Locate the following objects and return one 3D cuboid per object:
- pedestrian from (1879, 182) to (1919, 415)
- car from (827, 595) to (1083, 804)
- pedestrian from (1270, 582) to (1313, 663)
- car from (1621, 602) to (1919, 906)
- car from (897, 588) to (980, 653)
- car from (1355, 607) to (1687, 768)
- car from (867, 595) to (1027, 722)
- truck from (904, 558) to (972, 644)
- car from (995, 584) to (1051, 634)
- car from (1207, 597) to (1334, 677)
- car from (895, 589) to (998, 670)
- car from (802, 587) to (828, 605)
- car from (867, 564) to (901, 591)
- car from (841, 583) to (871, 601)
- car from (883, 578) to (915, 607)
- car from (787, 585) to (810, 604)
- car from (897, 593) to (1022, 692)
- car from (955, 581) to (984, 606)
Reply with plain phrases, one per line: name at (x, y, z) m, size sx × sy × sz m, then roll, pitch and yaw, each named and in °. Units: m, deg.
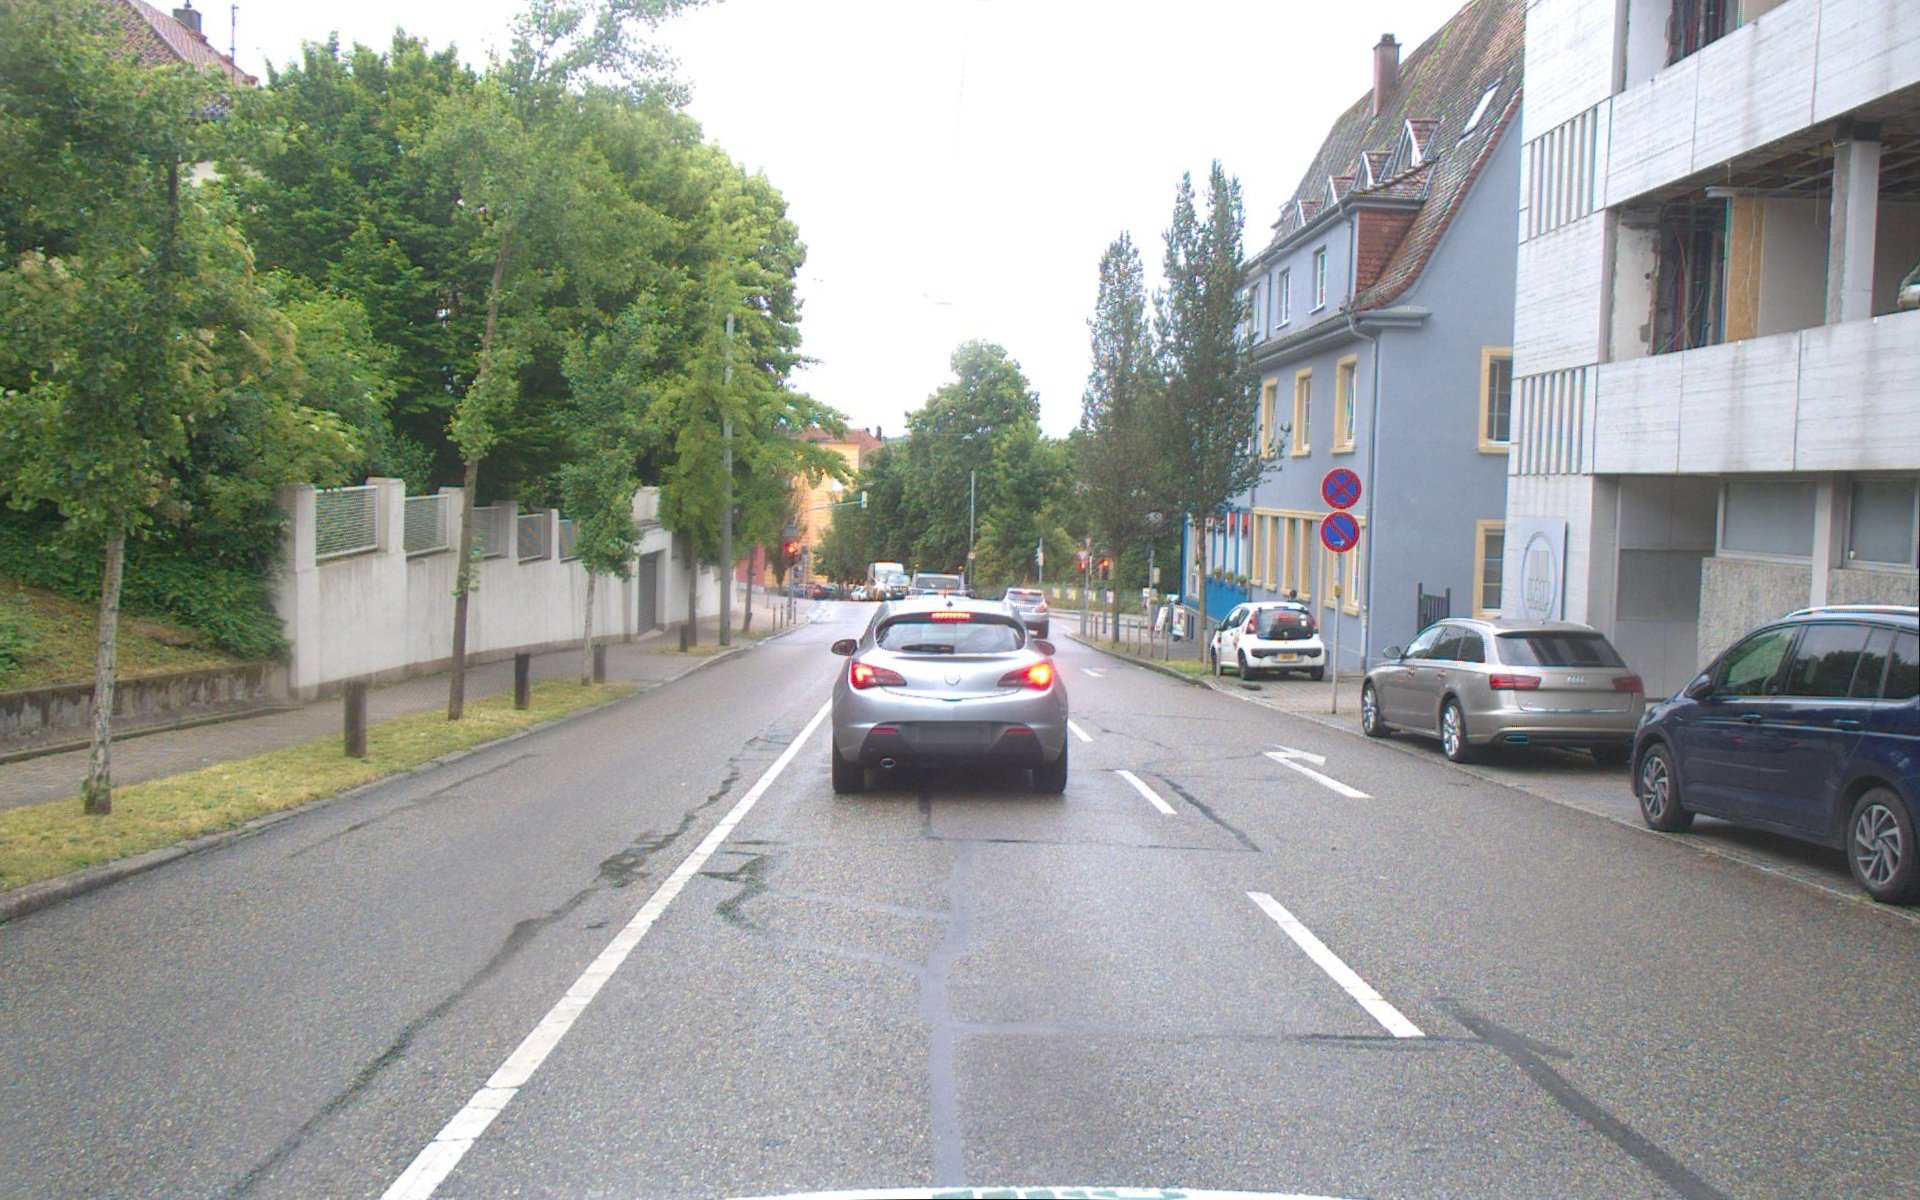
pedestrian at (9.207, -2.788, 15.315) m, size 0.889 × 2.049 × 0.861 m, roll 1°, pitch -1°, yaw -1°
car at (-0.121, 0.703, 13.697) m, size 1.800 × 1.459 × 3.877 m, roll 1°, pitch 0°, yaw -3°
pedestrian at (7.406, 0.494, 36.997) m, size 0.767 × 1.759 × 0.650 m, roll 2°, pitch 0°, yaw -1°
car at (5.977, 0.845, 10.552) m, size 1.694 × 1.627 × 4.159 m, roll 0°, pitch 0°, yaw -3°
car at (-0.574, 0.465, 41.329) m, size 1.922 × 1.473 × 4.303 m, roll 2°, pitch 0°, yaw -2°
car at (5.935, 0.853, 18.160) m, size 1.923 × 1.473 × 4.524 m, roll 1°, pitch 1°, yaw -3°
car at (-0.231, 0.714, 22.572) m, size 1.922 × 1.473 × 4.303 m, roll 2°, pitch 0°, yaw -2°
truck at (-0.720, 0.015, 51.327) m, size 1.922 × 2.471 × 4.934 m, roll 2°, pitch 0°, yaw -2°
car at (2.227, 0.310, 59.410) m, size 1.688 × 1.744 × 3.877 m, roll 0°, pitch 0°, yaw -3°
car at (6.132, 0.692, 33.045) m, size 1.688 × 1.473 × 3.878 m, roll 0°, pitch 0°, yaw -2°
car at (-0.338, 0.551, 33.672) m, size 1.922 × 1.473 × 4.303 m, roll 2°, pitch 0°, yaw -2°
car at (-14.263, -0.406, 162.109) m, size 1.696 × 1.666 × 3.859 m, roll 0°, pitch 0°, yaw -18°
car at (-4.833, -1.431, 104.414) m, size 1.691 × 1.666 × 3.871 m, roll 0°, pitch 0°, yaw -10°
car at (-9.057, -0.708, 143.436) m, size 1.696 × 1.570 × 3.859 m, roll 0°, pitch 0°, yaw -18°
car at (-3.577, -0.457, 96.797) m, size 1.833 × 1.666 × 3.878 m, roll 0°, pitch 0°, yaw -2°
car at (-14.904, -0.484, 152.760) m, size 1.692 × 1.666 × 3.868 m, roll 2°, pitch -1°, yaw -12°
car at (-0.081, 0.659, 28.296) m, size 1.922 × 1.473 × 4.303 m, roll 2°, pitch 0°, yaw -2°
car at (0.636, -0.460, 113.165) m, size 1.689 × 1.666 × 3.876 m, roll 0°, pitch 0°, yaw -4°
